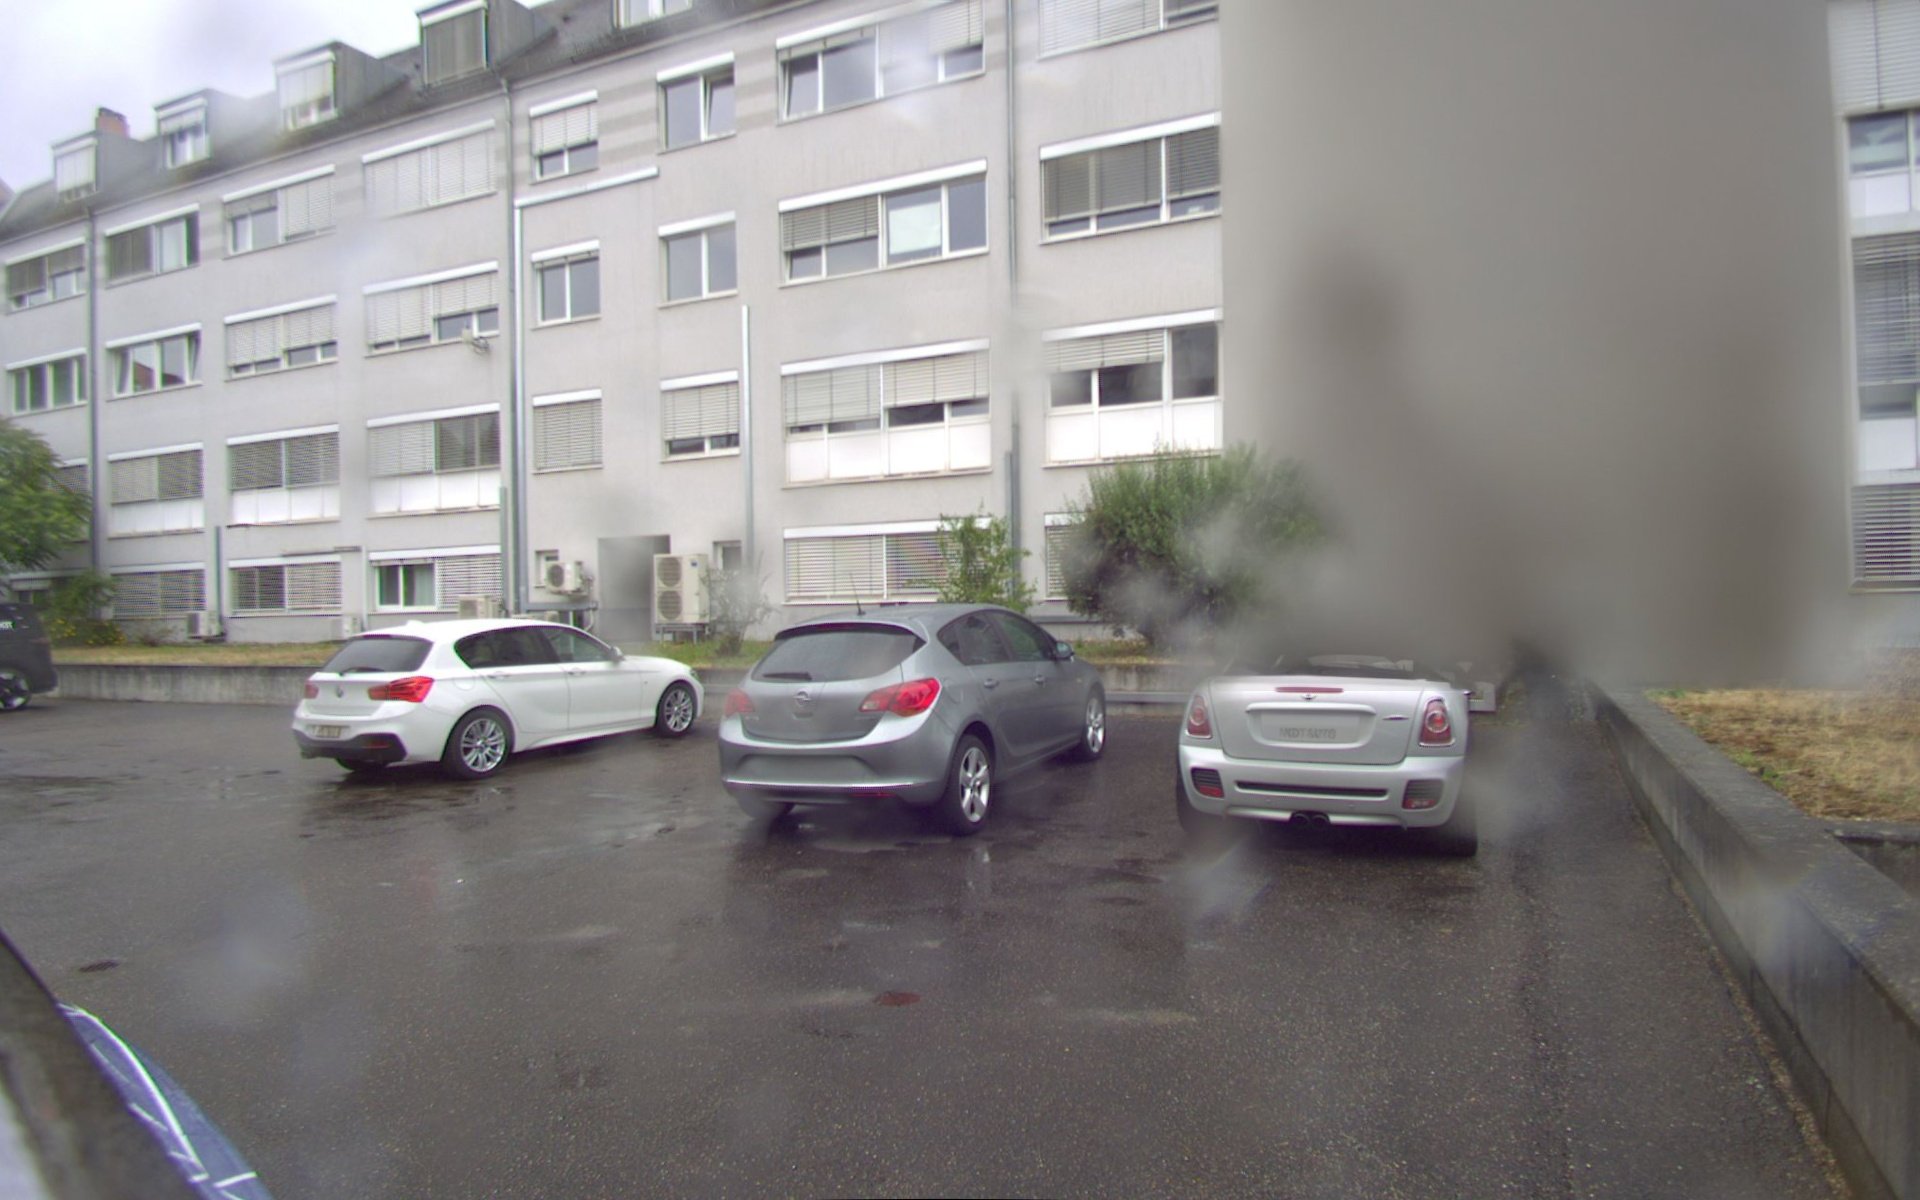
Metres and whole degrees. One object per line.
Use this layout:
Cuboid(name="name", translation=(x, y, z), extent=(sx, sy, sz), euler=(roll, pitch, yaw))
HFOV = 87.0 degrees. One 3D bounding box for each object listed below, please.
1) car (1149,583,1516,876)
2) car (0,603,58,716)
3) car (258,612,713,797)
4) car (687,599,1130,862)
Cuboid(name="car", translation=(2.817, 0.649, 7.320), extent=(1.812, 1.343, 4.144), euler=(-2, 2, 26))
Cuboid(name="car", translation=(-17.342, 1.040, 15.710), extent=(1.974, 1.850, 4.598), euler=(-3, -1, 22))
Cuboid(name="car", translation=(-4.547, 0.876, 10.415), extent=(1.743, 1.444, 4.119), euler=(-1, 0, 24))
Cuboid(name="car", translation=(-0.082, 0.771, 8.037), extent=(1.811, 1.495, 4.145), euler=(-2, -1, 24))
